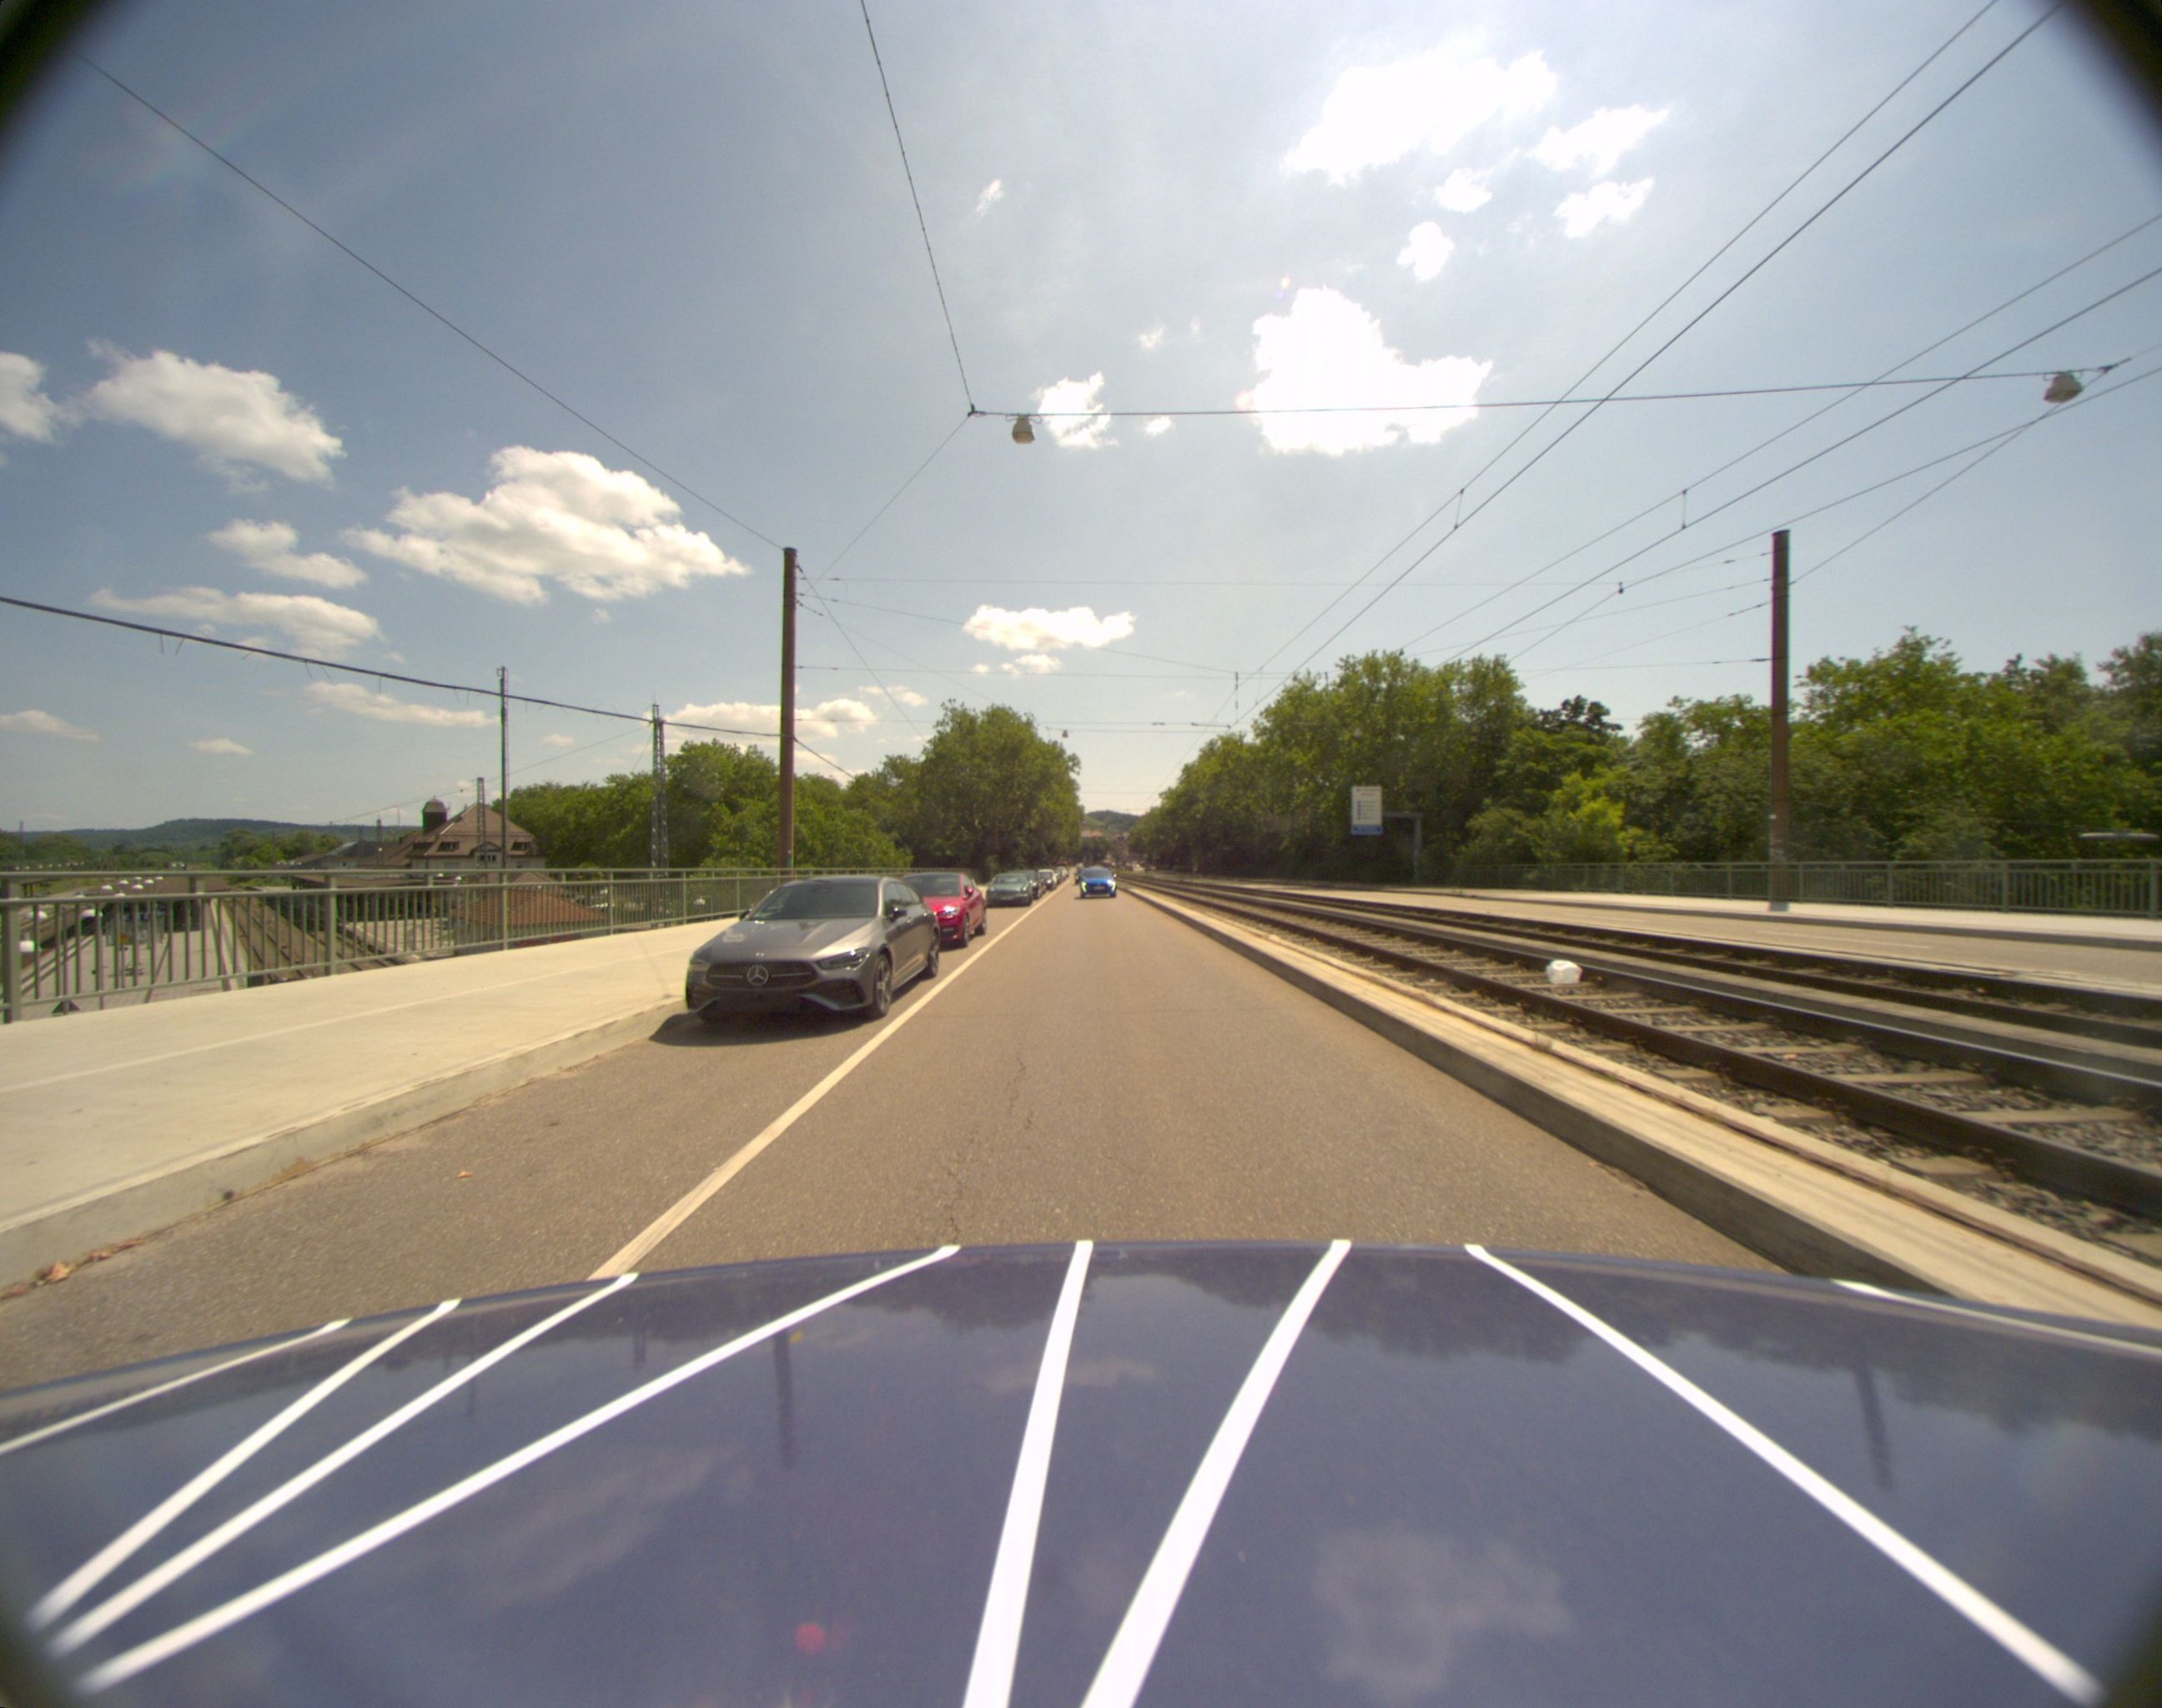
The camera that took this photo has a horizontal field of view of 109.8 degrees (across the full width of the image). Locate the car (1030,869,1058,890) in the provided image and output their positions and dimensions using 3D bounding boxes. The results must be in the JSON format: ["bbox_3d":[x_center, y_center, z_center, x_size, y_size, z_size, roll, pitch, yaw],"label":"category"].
[{"bbox_3d":[-2.599,1.765,53.732,1.759,1.381,3.700,-1,-1,0],"label":"car"}]

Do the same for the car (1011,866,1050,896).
[{"bbox_3d":[-3.041,1.603,46.538,1.829,1.549,4.160,-6,-1,1],"label":"car"}]

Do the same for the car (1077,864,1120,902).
[{"bbox_3d":[0.816,1.343,36.334,1.865,1.630,4.000,-2,0,1],"label":"car"}]

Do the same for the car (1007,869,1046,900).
[{"bbox_3d":[-2.679,1.489,38.288,1.639,1.445,4.388,-2,-1,0],"label":"car"}]

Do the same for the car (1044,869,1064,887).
[{"bbox_3d":[-2.695,2.383,76.490,1.798,1.613,4.247,-2,-1,1],"label":"car"}]

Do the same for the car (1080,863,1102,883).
[{"bbox_3d":[0.957,1.720,70.675,1.797,1.726,3.768,-3,-1,3],"label":"car"}]

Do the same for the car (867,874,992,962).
[{"bbox_3d":[-2.944,1.194,15.650,1.651,1.451,4.286,-2,-1,0],"label":"car"}]

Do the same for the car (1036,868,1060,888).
[{"bbox_3d":[-2.577,1.859,59.472,1.683,1.423,4.160,-1,-1,0],"label":"car"}]

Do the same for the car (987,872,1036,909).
[{"bbox_3d":[-2.820,1.447,31.509,1.689,1.350,4.593,-2,-1,-2],"label":"car"}]

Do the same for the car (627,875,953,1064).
[{"bbox_3d":[-2.944,1.069,8.995,1.998,1.542,4.722,-2,-1,0],"label":"car"}]
